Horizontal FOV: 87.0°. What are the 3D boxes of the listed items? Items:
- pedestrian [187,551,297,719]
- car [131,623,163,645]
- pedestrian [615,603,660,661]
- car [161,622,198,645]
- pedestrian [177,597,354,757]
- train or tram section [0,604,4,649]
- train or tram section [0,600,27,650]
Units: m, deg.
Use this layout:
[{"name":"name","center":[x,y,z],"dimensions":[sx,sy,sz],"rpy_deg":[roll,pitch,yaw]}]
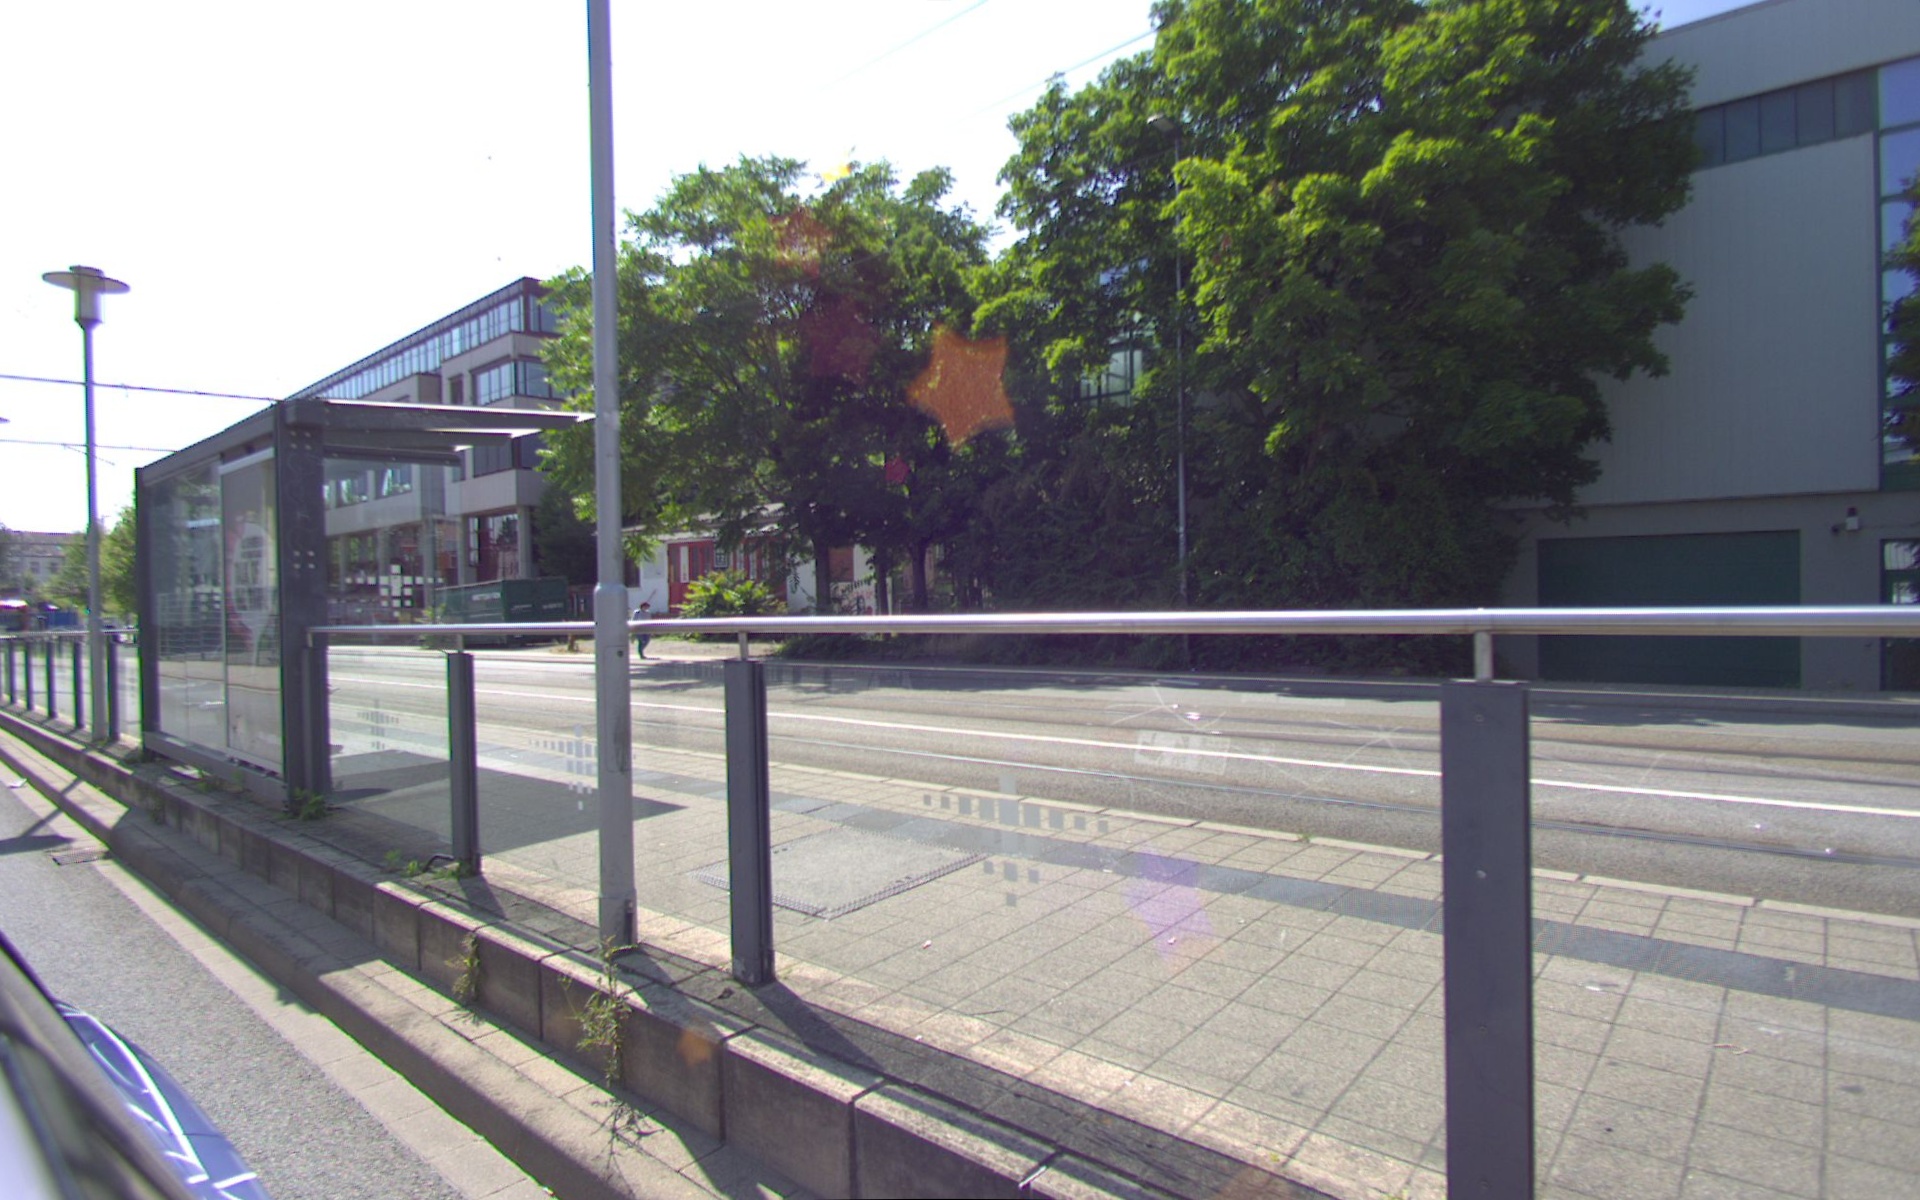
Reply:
[{"name":"pedestrian","center":[-7.851,0.360,11.058],"dimensions":[0.944,1.737,0.716],"rpy_deg":[-3,0,42]},{"name":"car","center":[-65.536,2.716,81.538],"dimensions":[1.844,1.630,4.005],"rpy_deg":[-1,-1,-41]},{"name":"pedestrian","center":[-8.925,0.875,28.011],"dimensions":[0.845,1.538,0.862],"rpy_deg":[-2,-1,41]},{"name":"car","center":[-59.460,2.533,77.079],"dimensions":[1.969,1.635,4.005],"rpy_deg":[-1,-1,-41]},{"name":"pedestrian","center":[-5.343,0.561,7.806],"dimensions":[0.726,1.107,0.933],"rpy_deg":[-3,0,41]},{"name":"train or tram section","center":[-81.114,2.250,83.041],"dimensions":[13.383,3.511,2.646],"rpy_deg":[-2,0,41]},{"name":"train or tram section","center":[-71.606,1.924,74.738],"dimensions":[12.322,3.511,2.646],"rpy_deg":[-2,0,41]}]
